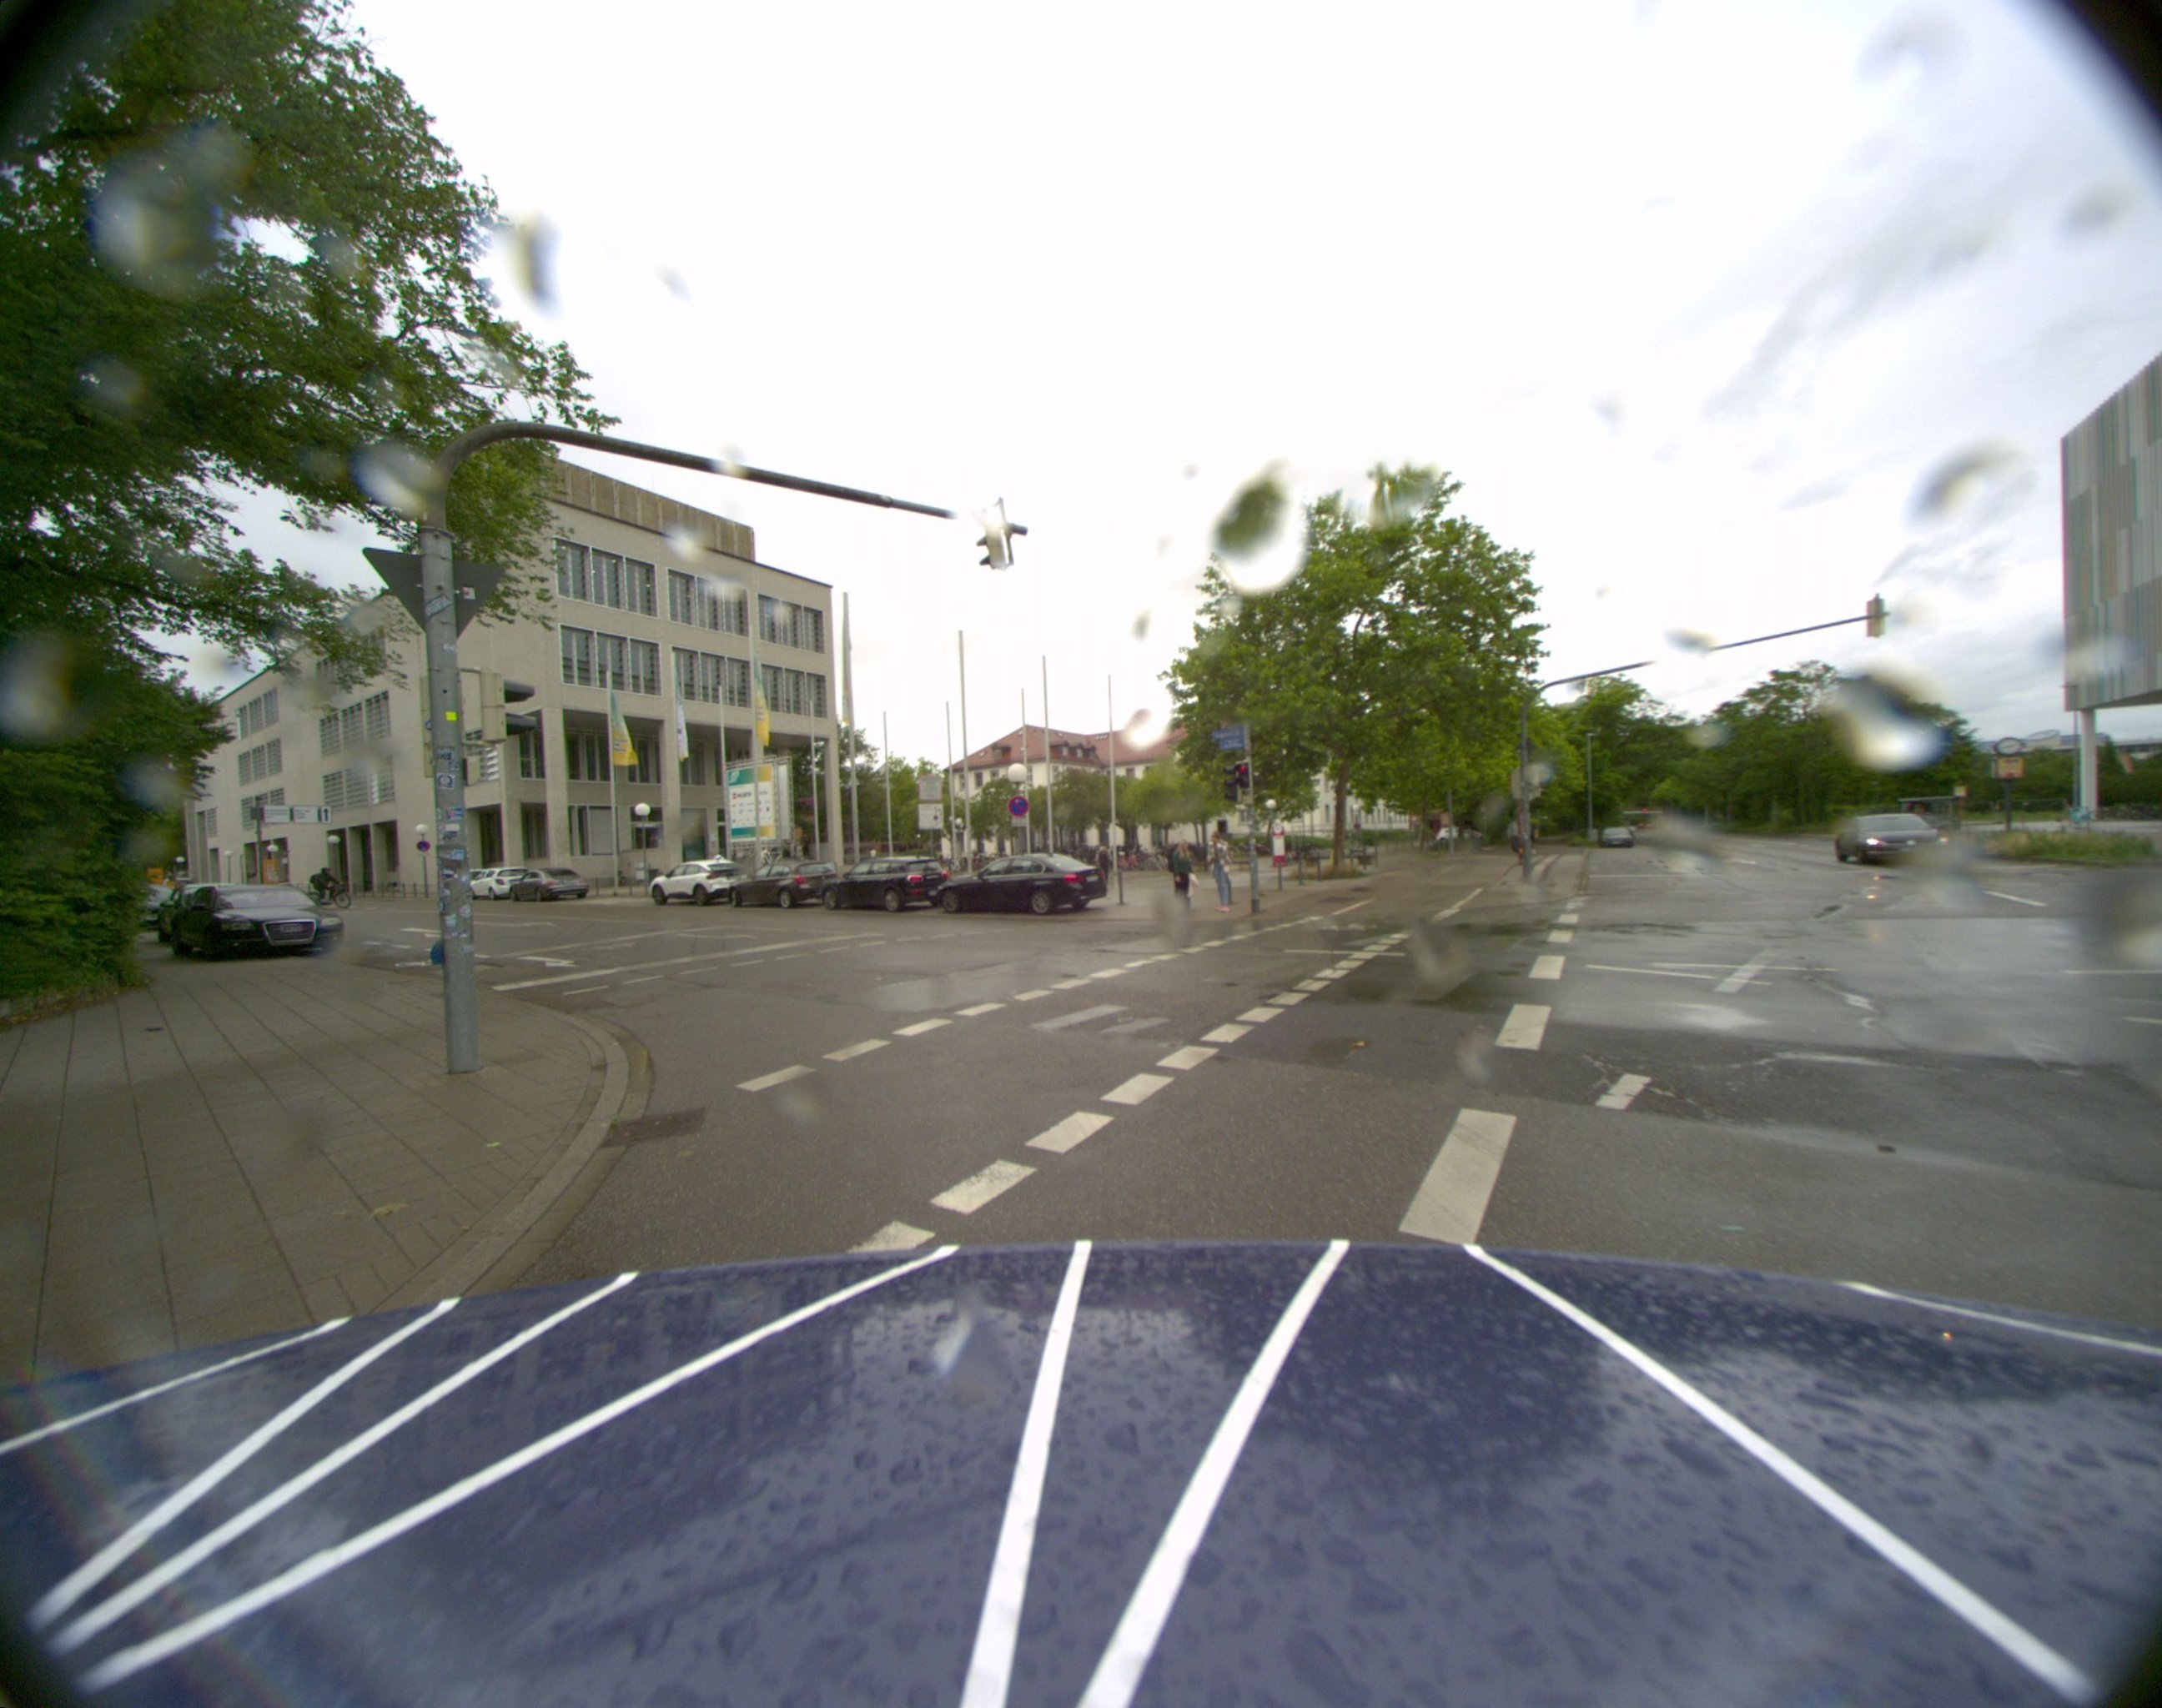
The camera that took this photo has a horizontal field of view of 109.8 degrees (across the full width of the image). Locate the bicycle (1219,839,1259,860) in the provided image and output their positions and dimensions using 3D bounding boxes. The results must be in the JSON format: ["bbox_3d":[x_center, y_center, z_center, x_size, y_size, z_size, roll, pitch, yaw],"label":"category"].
[{"bbox_3d":[9.855,-0.264,47.397,2.280,1.215,0.600,-2,1,24],"label":"bicycle"}]

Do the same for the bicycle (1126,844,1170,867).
[{"bbox_3d":[3.656,0.084,41.415,2.280,1.215,0.600,-2,1,24],"label":"bicycle"}]

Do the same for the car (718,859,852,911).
[{"bbox_3d":[-9.540,0.986,24.368,4.226,1.391,1.776,-2,4,33],"label":"car"}]

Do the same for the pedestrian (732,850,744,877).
[{"bbox_3d":[-19.468,0.542,43.160,0.470,1.507,0.565,-3,2,-34],"label":"pedestrian"}]

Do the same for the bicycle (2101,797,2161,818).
[{"bbox_3d":[68.453,-2.993,49.532,0.600,1.215,2.279,-4,2,-44],"label":"bicycle"}]

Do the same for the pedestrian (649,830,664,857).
[{"bbox_3d":[-24.359,-0.605,43.609,0.567,1.507,0.542,-3,1,-15],"label":"pedestrian"}]

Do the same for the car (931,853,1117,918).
[{"bbox_3d":[-1.473,0.771,19.030,4.378,1.330,1.776,-2,4,33],"label":"car"}]

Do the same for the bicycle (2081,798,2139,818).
[{"bbox_3d":[70.600,-3.123,52.162,0.600,1.215,2.279,-4,2,-44],"label":"bicycle"}]

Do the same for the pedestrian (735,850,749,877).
[{"bbox_3d":[-18.843,0.532,42.269,0.544,1.507,0.565,-3,2,-34],"label":"pedestrian"}]

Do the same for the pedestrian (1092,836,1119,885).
[{"bbox_3d":[0.884,0.219,27.578,0.848,1.728,1.123,-3,1,5],"label":"pedestrian"}]

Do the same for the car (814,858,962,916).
[{"bbox_3d":[-5.509,0.916,21.558,4.005,1.371,1.776,-2,4,35],"label":"car"}]

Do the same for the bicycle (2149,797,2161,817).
[{"bbox_3d":[66.935,-2.890,46.158,0.600,1.215,2.279,-4,2,-44],"label":"bicycle"}]

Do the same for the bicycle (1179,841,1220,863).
[{"bbox_3d":[6.975,-0.103,44.655,2.280,1.215,0.600,-2,1,24],"label":"bicycle"}]

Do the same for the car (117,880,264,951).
[{"bbox_3d":[-23.591,1.545,20.109,4.089,1.509,1.776,0,2,30],"label":"car"}]

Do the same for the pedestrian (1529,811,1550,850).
[{"bbox_3d":[21.782,-1.101,36.125,0.623,1.814,0.787,-2,1,15],"label":"pedestrian"}]

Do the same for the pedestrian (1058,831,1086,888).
[{"bbox_3d":[-0.336,0.188,28.089,0.848,2.002,1.123,-3,1,5],"label":"pedestrian"}]

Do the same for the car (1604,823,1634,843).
[{"bbox_3d":[37.480,-1.471,52.980,1.657,1.259,4.114,-2,1,35],"label":"car"}]

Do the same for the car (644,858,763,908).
[{"bbox_3d":[-13.438,1.042,26.999,4.089,1.510,1.775,-2,4,31],"label":"car"}]

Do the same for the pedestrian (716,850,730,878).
[{"bbox_3d":[-19.718,0.573,41.876,0.544,1.507,0.565,-3,2,-34],"label":"pedestrian"}]

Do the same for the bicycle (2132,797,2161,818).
[{"bbox_3d":[68.144,-2.966,47.823,0.600,1.215,2.279,-4,2,-44],"label":"bicycle"}]

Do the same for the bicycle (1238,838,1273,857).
[{"bbox_3d":[12.149,-0.448,52.920,2.280,1.215,0.600,-2,1,24],"label":"bicycle"}]

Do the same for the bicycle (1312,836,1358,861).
[{"bbox_3d":[13.550,-0.300,40.535,2.280,1.215,0.600,-2,1,24],"label":"bicycle"}]

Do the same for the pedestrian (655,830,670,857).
[{"bbox_3d":[-24.433,-0.614,44.360,0.567,1.507,0.542,-3,1,-13],"label":"pedestrian"}]

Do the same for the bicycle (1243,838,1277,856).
[{"bbox_3d":[12.664,-0.483,53.792,2.280,1.215,0.600,-2,1,24],"label":"bicycle"}]

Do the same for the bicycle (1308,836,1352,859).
[{"bbox_3d":[14.109,-0.363,43.044,2.280,1.215,0.600,-2,1,24],"label":"bicycle"}]

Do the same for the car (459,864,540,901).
[{"bbox_3d":[-28.031,1.361,36.628,4.089,1.510,1.776,-2,4,34],"label":"car"}]

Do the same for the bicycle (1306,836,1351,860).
[{"bbox_3d":[13.778,-0.337,42.293,2.280,1.215,0.600,-2,1,24],"label":"bicycle"}]

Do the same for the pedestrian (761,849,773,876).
[{"bbox_3d":[-17.965,0.477,43.476,0.470,1.507,0.565,-3,2,-34],"label":"pedestrian"}]

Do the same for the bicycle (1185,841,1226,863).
[{"bbox_3d":[7.410,-0.132,45.336,2.280,1.215,0.600,-2,1,24],"label":"bicycle"}]

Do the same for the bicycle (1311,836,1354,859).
[{"bbox_3d":[14.445,-0.387,43.707,2.280,1.215,0.600,-2,1,24],"label":"bicycle"}]

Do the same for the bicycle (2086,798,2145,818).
[{"bbox_3d":[69.612,-3.067,51.160,0.600,1.215,2.279,-4,2,-44],"label":"bicycle"}]

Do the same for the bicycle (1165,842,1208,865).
[{"bbox_3d":[5.989,-0.042,43.001,2.280,1.215,0.600,-2,1,24],"label":"bicycle"}]

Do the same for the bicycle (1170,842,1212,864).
[{"bbox_3d":[6.351,-0.067,43.968,2.280,1.215,0.600,-2,1,24],"label":"bicycle"}]

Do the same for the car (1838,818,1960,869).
[{"bbox_3d":[24.412,-0.352,22.833,1.657,1.357,4.114,-2,1,35],"label":"car"}]

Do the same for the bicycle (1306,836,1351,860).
[{"bbox_3d":[13.556,-0.317,41.605,2.280,1.215,0.600,-2,1,24],"label":"bicycle"}]

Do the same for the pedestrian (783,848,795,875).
[{"bbox_3d":[-16.467,0.427,42.852,0.470,1.507,0.565,-3,2,-33],"label":"pedestrian"}]

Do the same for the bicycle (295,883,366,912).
[{"bbox_3d":[-32.390,1.867,32.826,2.000,1.091,0.802,-3,1,-20],"label":"bicycle"}]

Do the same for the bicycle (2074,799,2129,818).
[{"bbox_3d":[72.304,-3.219,53.852,0.600,1.215,2.279,-4,2,-44],"label":"bicycle"}]

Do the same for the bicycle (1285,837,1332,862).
[{"bbox_3d":[11.857,-0.216,39.638,2.280,1.215,0.600,-2,1,24],"label":"bicycle"}]

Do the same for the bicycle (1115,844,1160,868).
[{"bbox_3d":[3.029,0.118,40.869,2.280,1.215,0.600,-2,1,24],"label":"bicycle"}]

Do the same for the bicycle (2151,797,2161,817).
[{"bbox_3d":[67.582,-2.915,46.560,0.600,1.215,2.279,-4,2,-44],"label":"bicycle"}]

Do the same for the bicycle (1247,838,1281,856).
[{"bbox_3d":[13.166,-0.519,54.753,2.280,1.215,0.600,-2,1,24],"label":"bicycle"}]

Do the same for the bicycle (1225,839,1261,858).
[{"bbox_3d":[11.014,-0.381,51.654,2.280,1.215,0.600,-2,1,24],"label":"bicycle"}]

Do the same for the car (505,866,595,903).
[{"bbox_3d":[-23.448,1.342,33.513,4.089,1.395,1.776,-2,4,34],"label":"car"}]

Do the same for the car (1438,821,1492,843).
[{"bbox_3d":[35.871,-2.055,71.037,4.415,1.862,1.641,-2,1,29],"label":"car"}]

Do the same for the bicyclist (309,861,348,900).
[{"bbox_3d":[-32.462,1.133,32.794,0.891,1.615,0.802,-3,1,-20],"label":"bicyclist"}]

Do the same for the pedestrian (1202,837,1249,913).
[{"bbox_3d":[3.137,0.442,16.469,0.876,1.598,0.864,-2,1,15],"label":"pedestrian"}]

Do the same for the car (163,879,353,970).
[{"bbox_3d":[-17.183,1.361,15.834,4.089,1.509,1.776,0,2,30],"label":"car"}]

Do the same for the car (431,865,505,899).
[{"bbox_3d":[-31.818,1.448,39.418,4.089,1.510,1.776,-2,4,34],"label":"car"}]

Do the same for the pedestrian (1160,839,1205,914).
[{"bbox_3d":[2.234,0.476,16.894,0.876,1.598,0.863,-2,1,3],"label":"pedestrian"}]

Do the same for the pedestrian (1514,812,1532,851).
[{"bbox_3d":[21.098,-1.084,36.268,0.623,1.814,0.788,-2,2,22],"label":"pedestrian"}]

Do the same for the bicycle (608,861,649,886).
[{"bbox_3d":[-24.863,1.069,41.712,2.962,1.322,0.925,-1,2,40],"label":"bicycle"}]
